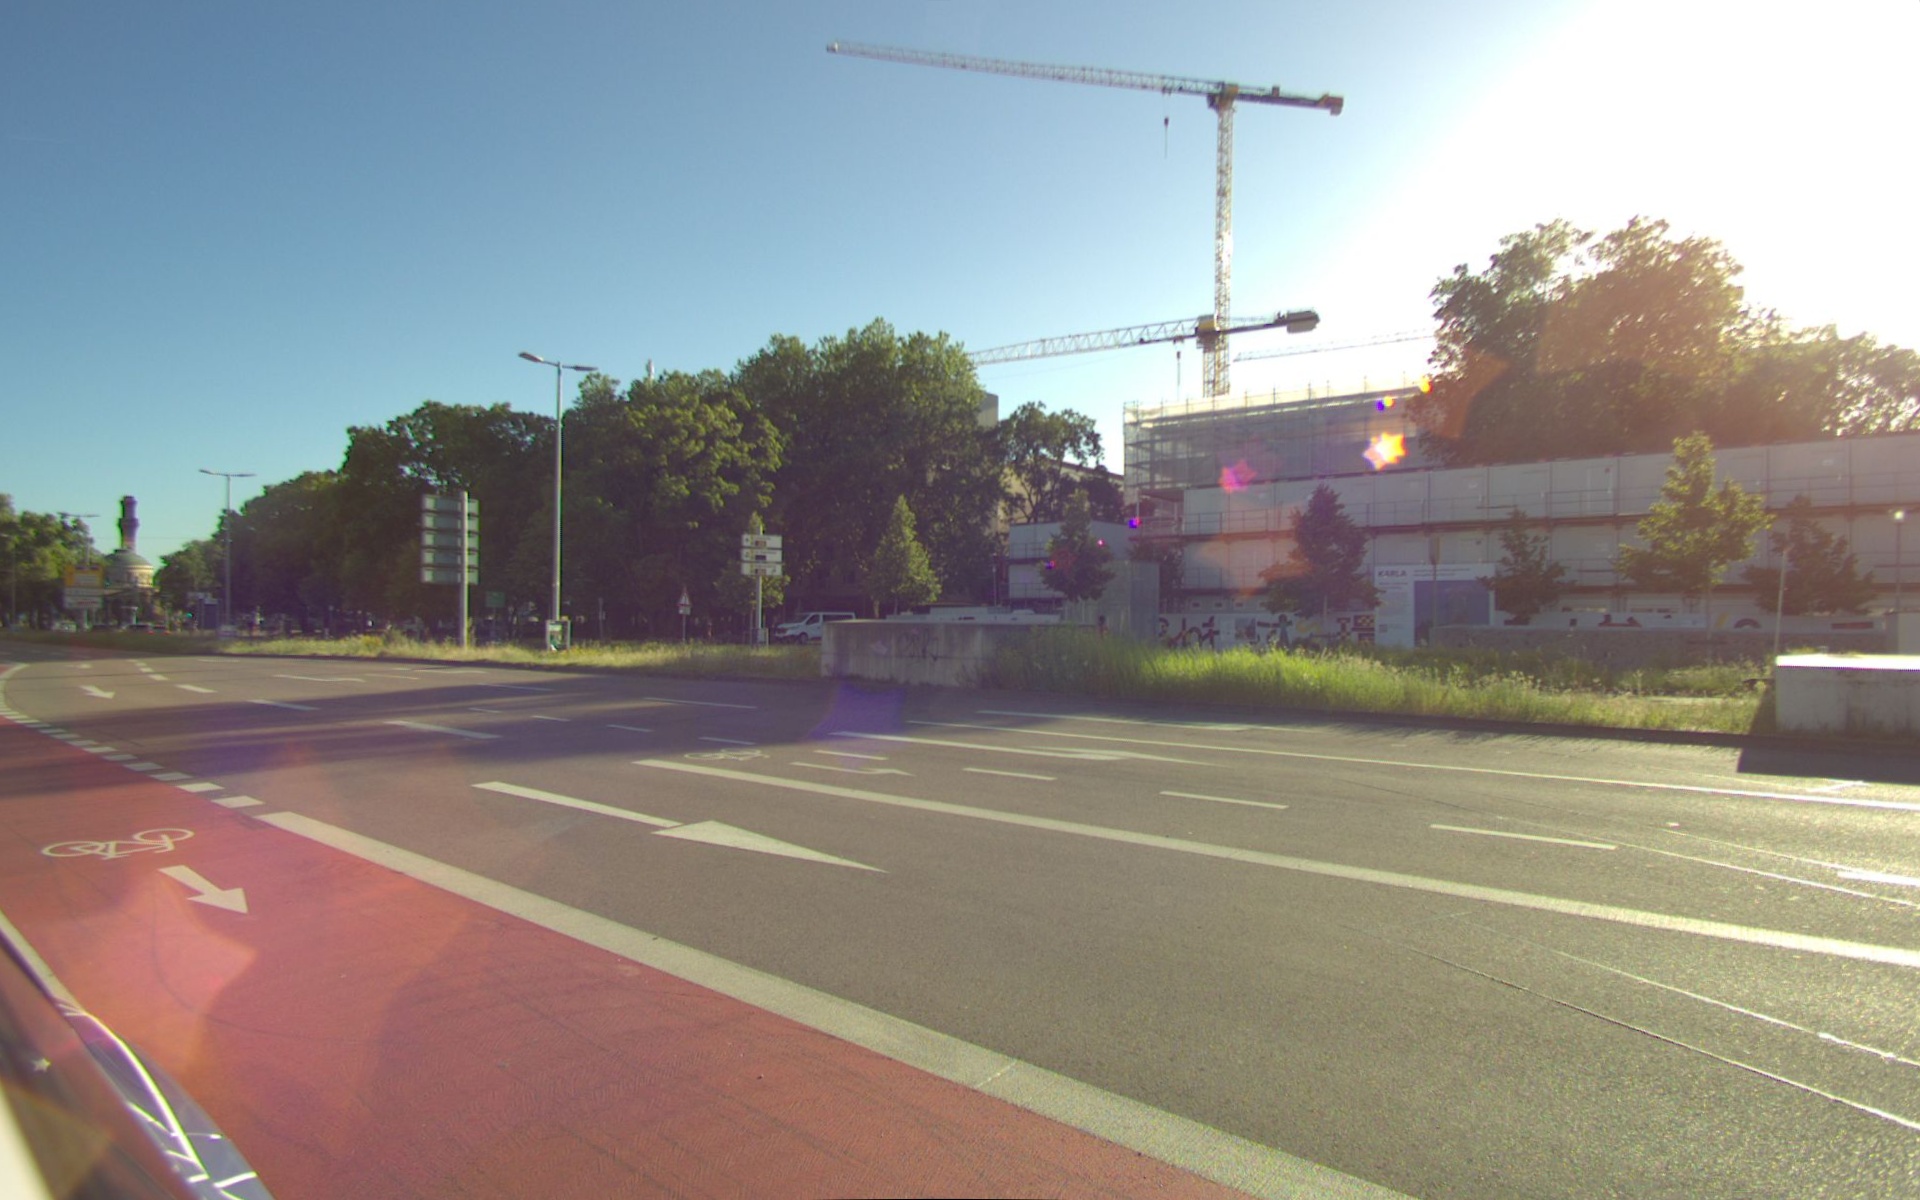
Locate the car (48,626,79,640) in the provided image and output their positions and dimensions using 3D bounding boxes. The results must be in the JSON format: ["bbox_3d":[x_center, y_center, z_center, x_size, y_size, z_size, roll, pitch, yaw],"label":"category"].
[{"bbox_3d":[-95.233,3.474,107.502,3.995,1.409,1.849,-1,-2,39],"label":"car"}]

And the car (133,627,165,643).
[{"bbox_3d":[-83.134,3.574,103.734,4.000,1.519,1.972,-1,-2,43],"label":"car"}]

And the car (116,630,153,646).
[{"bbox_3d":[-73.344,3.345,89.892,3.996,1.409,1.849,-1,-2,40],"label":"car"}]

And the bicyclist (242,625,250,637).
[{"bbox_3d":[-74.198,3.224,105.178,0.601,1.291,0.717,1,-2,-36],"label":"bicyclist"}]

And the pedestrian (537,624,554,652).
[{"bbox_3d":[-25.949,2.389,63.395,0.762,1.738,0.698,-1,-2,41],"label":"pedestrian"}]

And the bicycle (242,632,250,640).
[{"bbox_3d":[-74.200,3.716,105.164,0.601,0.849,1.750,1,-2,-36],"label":"bicycle"}]

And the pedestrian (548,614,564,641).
[{"bbox_3d":[-25.540,1.739,63.982,0.762,1.738,0.656,-1,-2,41],"label":"pedestrian"}]

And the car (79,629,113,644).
[{"bbox_3d":[-83.503,3.470,97.819,3.996,1.409,1.849,-1,-2,39],"label":"car"}]

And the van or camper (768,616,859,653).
[{"bbox_3d":[-8.928,2.072,61.951,1.948,2.029,5.576,-1,0,42],"label":"van or camper"}]

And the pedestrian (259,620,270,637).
[{"bbox_3d":[-76.641,3.109,111.487,0.618,1.862,0.926,0,-2,-5],"label":"pedestrian"}]

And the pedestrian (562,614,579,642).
[{"bbox_3d":[-24.921,1.798,64.759,0.762,1.738,0.698,-1,-2,41],"label":"pedestrian"}]
